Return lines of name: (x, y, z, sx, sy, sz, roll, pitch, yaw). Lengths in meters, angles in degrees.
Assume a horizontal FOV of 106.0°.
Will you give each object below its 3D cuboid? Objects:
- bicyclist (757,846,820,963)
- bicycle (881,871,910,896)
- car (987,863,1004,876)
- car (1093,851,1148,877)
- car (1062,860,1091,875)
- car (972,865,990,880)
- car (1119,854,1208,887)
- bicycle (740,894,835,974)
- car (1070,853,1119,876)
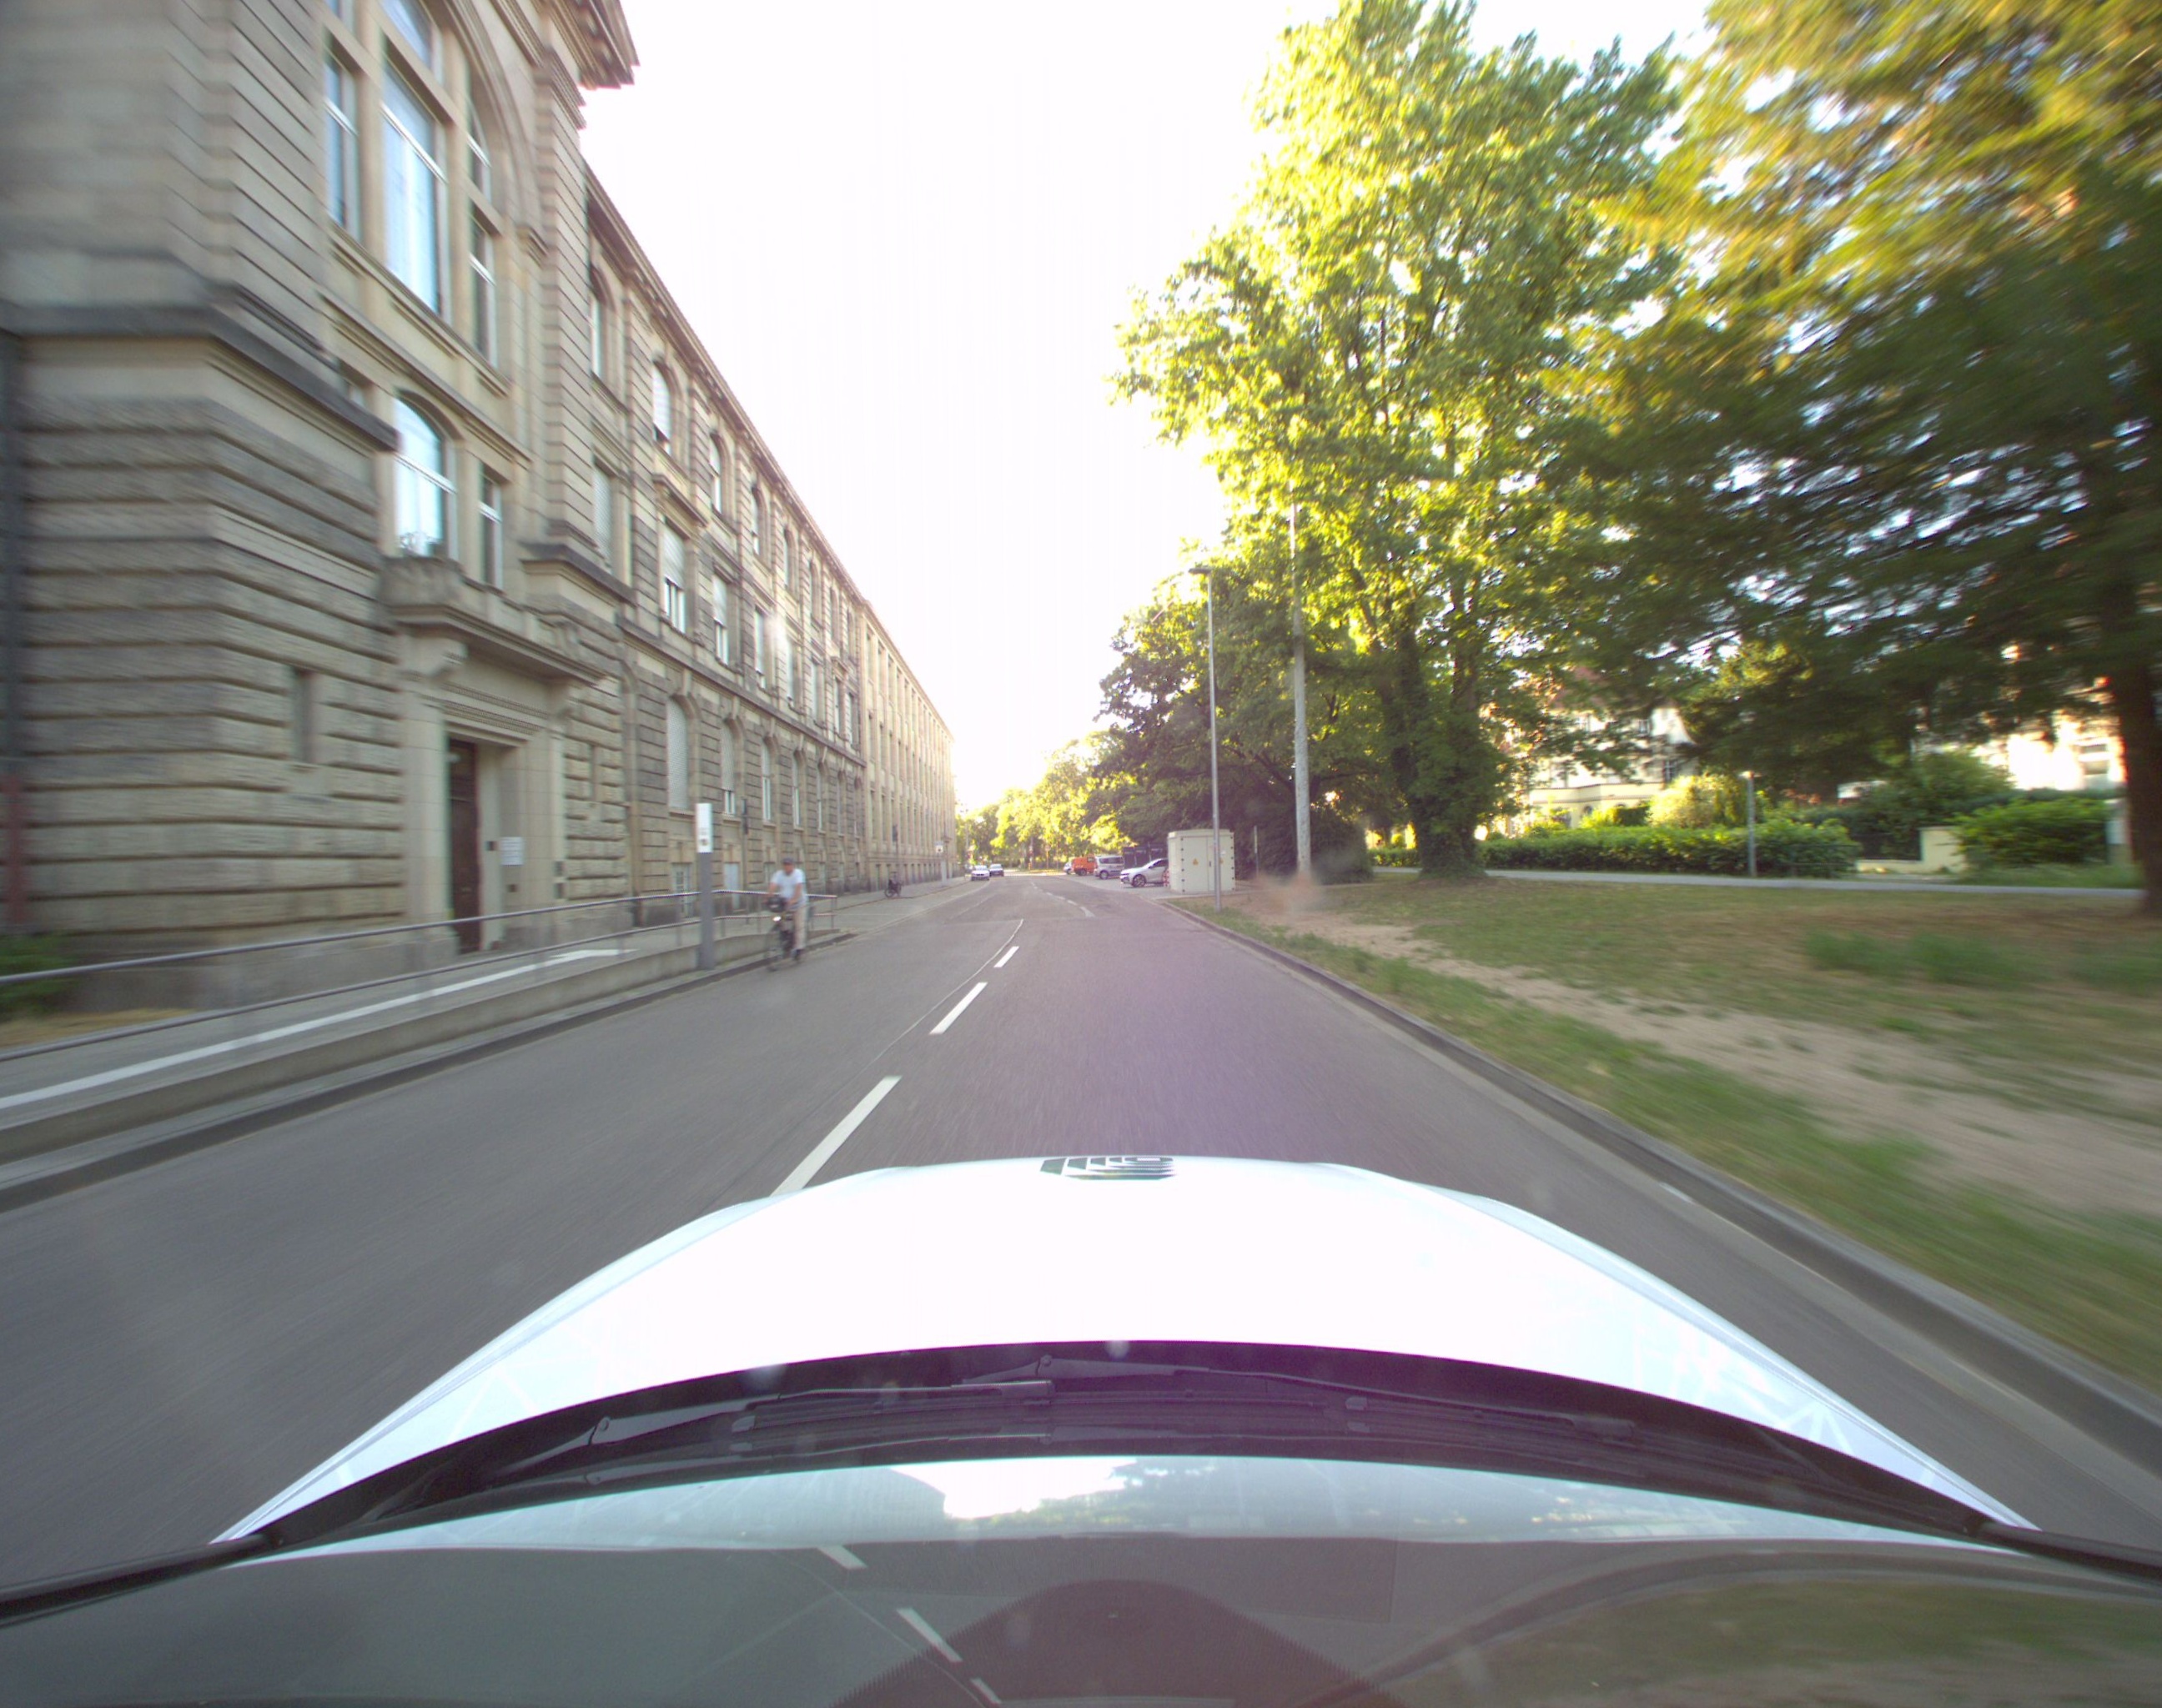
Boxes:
bicyclist: (-4.707, 0.792, 13.139, 0.643, 1.807, 0.780, -2, -1, 1)
bicycle: (-8.451, 1.322, 37.192, 0.849, 1.101, 1.982, 0, -1, 0)
car: (-10.279, 1.801, 97.803, 1.877, 1.466, 4.362, -2, 0, -7)
car: (3.142, 0.803, 65.593, 4.219, 1.859, 1.998, -3, -1, -3)
car: (-0.527, 1.542, 94.855, 3.145, 1.503, 1.535, -4, 0, -11)
car: (-9.874, 1.779, 80.410, 1.725, 1.397, 4.362, -2, -1, -7)
car: (4.381, 0.855, 43.430, 4.434, 1.469, 1.779, -3, -1, -5)
bicycle: (-4.682, 1.246, 13.176, 0.660, 1.070, 2.154, -2, -1, 2)
car: (1.393, 1.109, 84.796, 4.820, 2.013, 1.795, -4, -1, -11)
